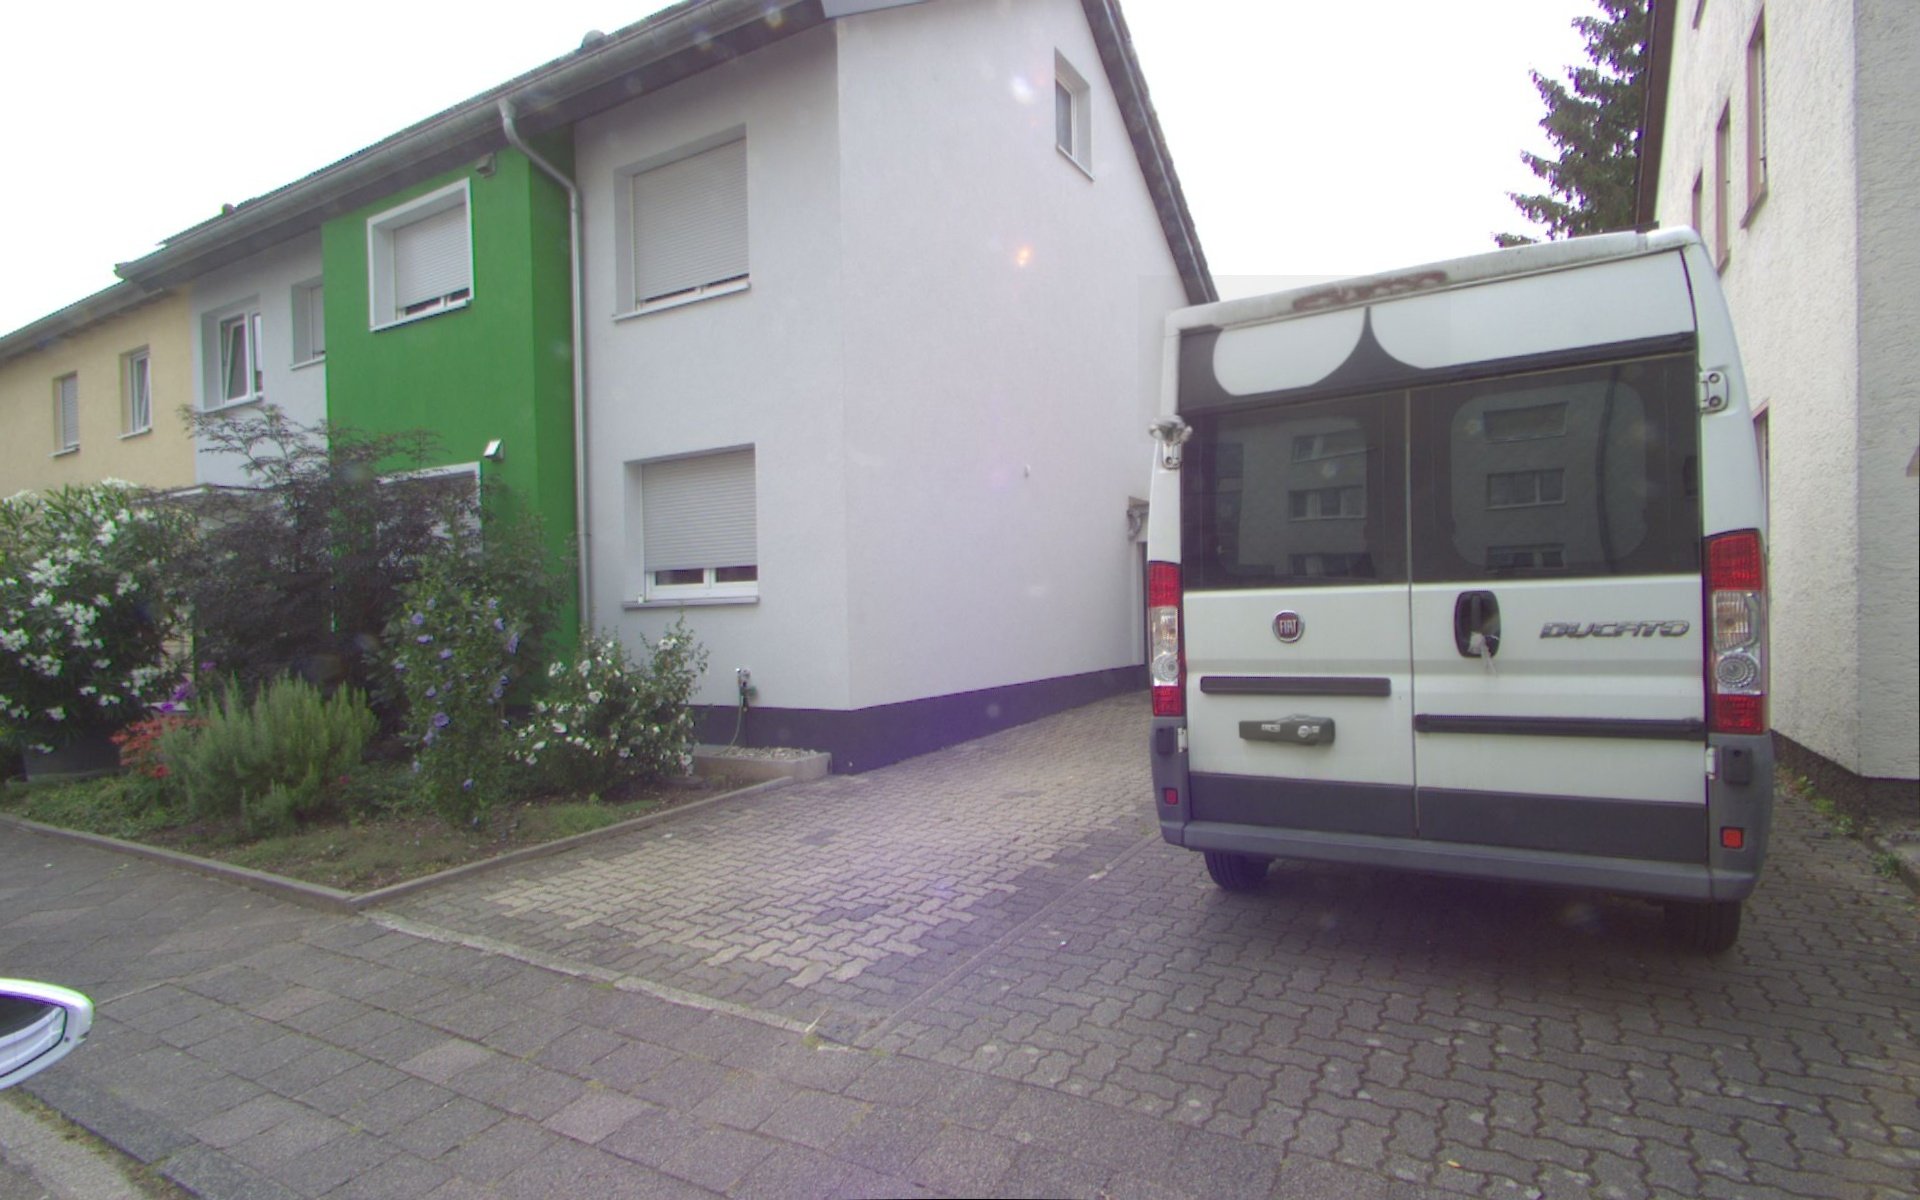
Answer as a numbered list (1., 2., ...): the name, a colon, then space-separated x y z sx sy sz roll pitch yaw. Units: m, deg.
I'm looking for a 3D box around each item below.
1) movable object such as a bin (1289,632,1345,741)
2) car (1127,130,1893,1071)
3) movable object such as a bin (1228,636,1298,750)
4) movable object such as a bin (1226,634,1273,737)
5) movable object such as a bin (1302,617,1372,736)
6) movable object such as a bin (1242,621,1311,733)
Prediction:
1. movable object such as a bin: 3.266 0.778 9.148 0.396 0.938 0.448 -1 2 30
2. car: 2.913 -0.020 5.502 2.205 2.576 5.077 -1 1 31
3. movable object such as a bin: 2.694 0.808 8.892 0.475 0.938 0.518 -1 2 30
4. movable object such as a bin: 2.749 0.799 9.504 0.333 0.938 0.354 -1 2 30
5. movable object such as a bin: 3.590 0.715 9.535 0.538 1.071 0.454 -1 2 30
6. movable object such as a bin: 3.103 0.740 9.818 0.538 1.046 0.454 -1 2 30
